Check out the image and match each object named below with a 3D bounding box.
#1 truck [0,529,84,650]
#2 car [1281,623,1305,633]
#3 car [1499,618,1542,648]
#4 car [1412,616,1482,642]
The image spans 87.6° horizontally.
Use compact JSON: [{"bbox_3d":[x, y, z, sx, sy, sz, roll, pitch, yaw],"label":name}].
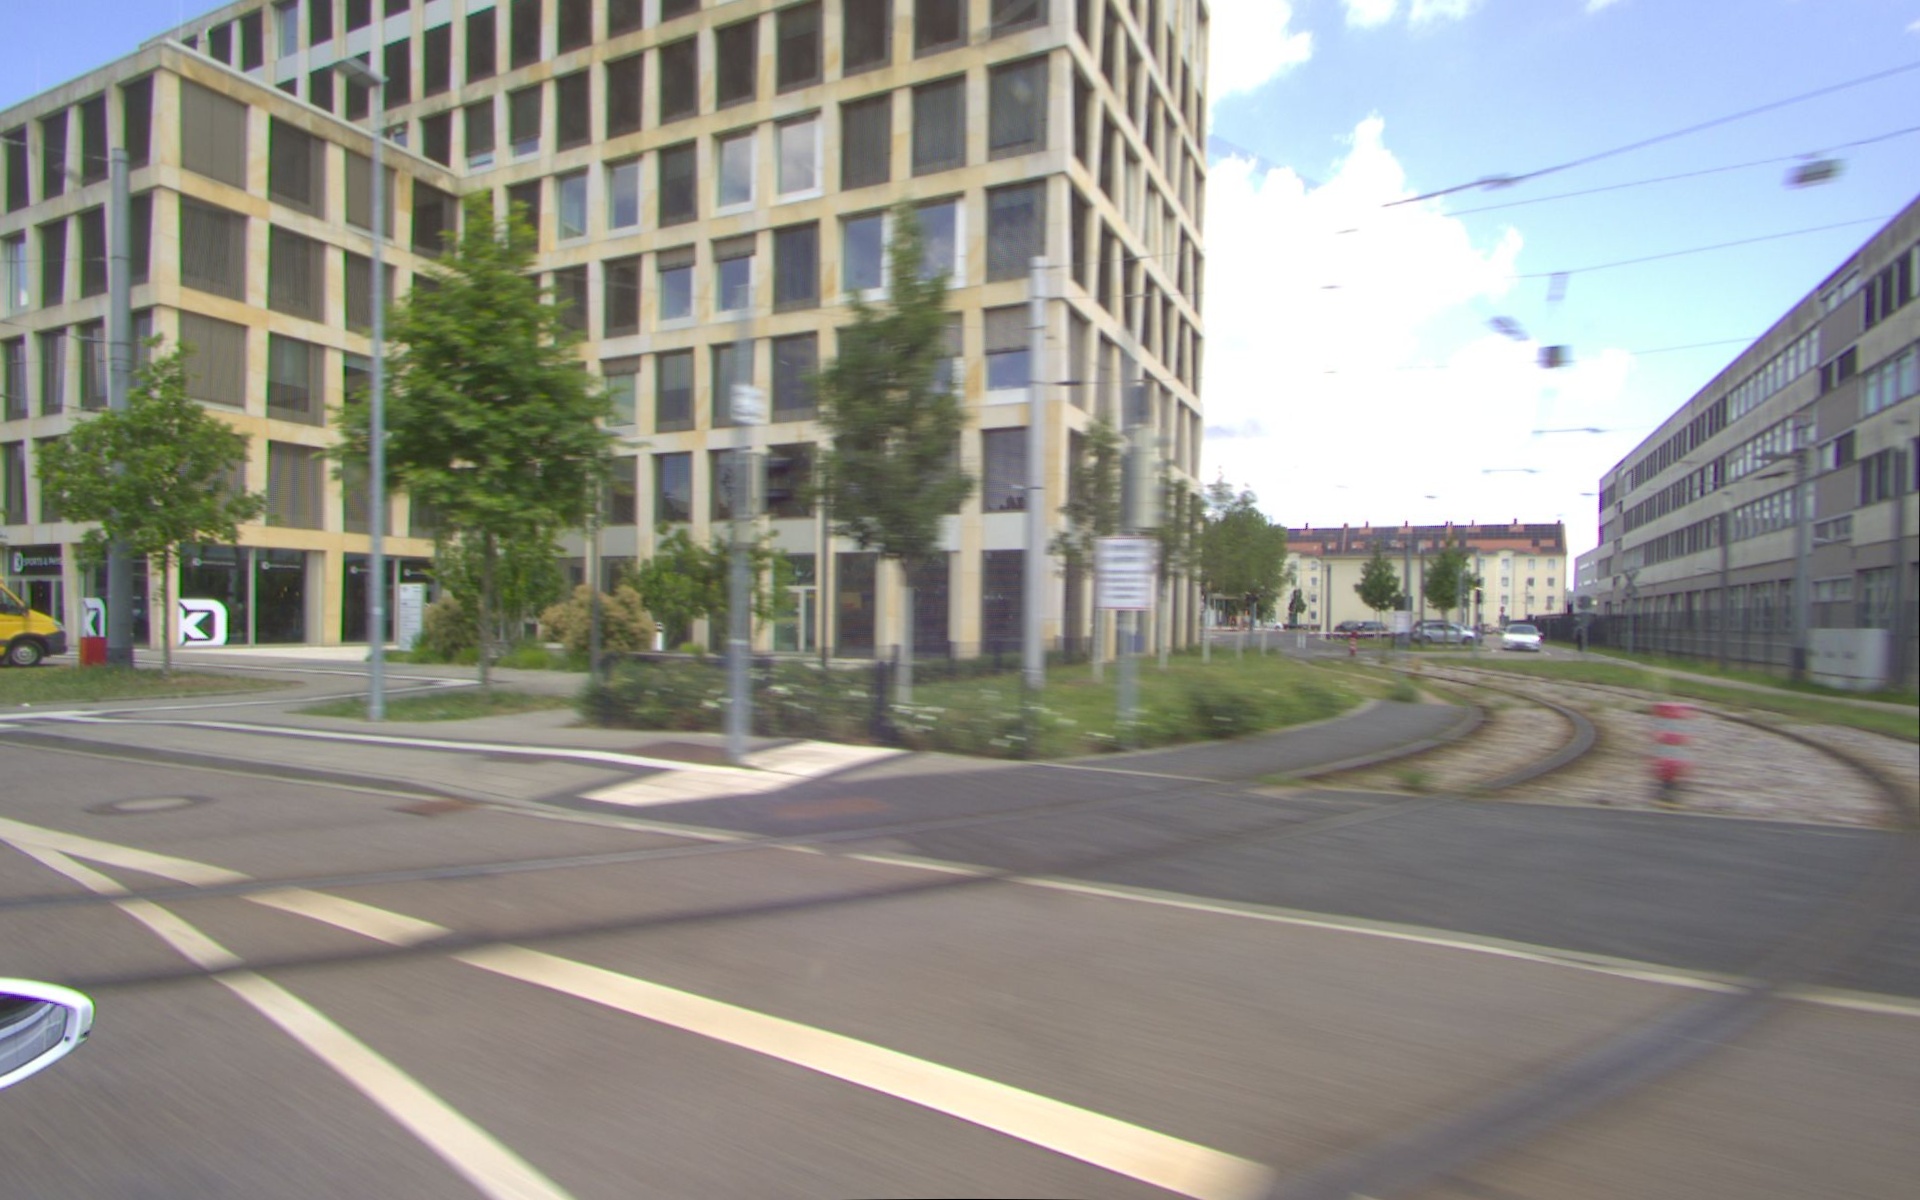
[{"bbox_3d":[-24.734,-0.280,22.821,2.414,2.904,6.809,0,-1,24],"label":"truck"},{"bbox_3d":[59.971,5.065,180.286,3.931,1.673,1.995,1,0,22],"label":"car"},{"bbox_3d":[31.637,1.862,56.579,1.778,1.587,4.020,0,-1,25],"label":"car"},{"bbox_3d":[31.160,1.868,64.104,3.969,1.587,1.801,0,-1,29],"label":"car"}]
